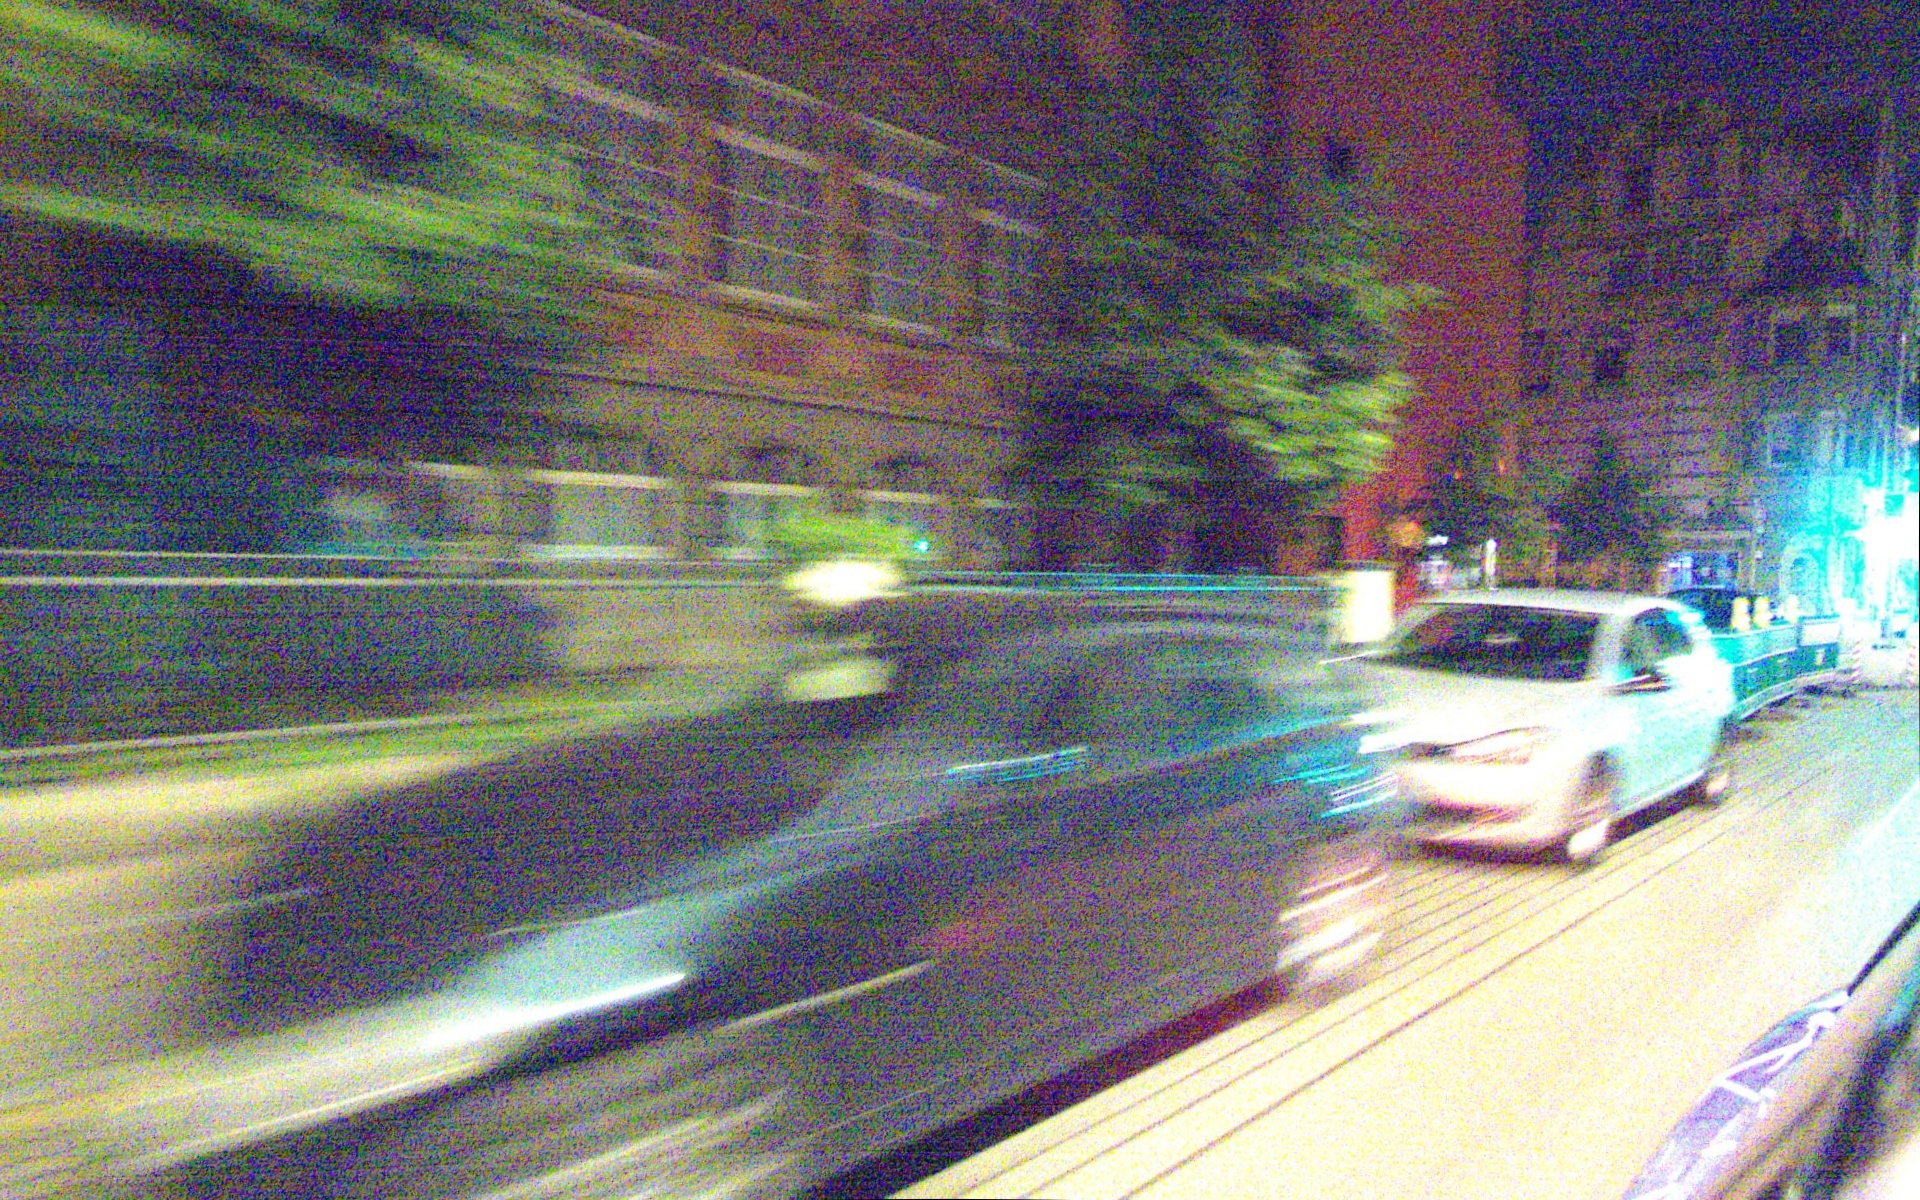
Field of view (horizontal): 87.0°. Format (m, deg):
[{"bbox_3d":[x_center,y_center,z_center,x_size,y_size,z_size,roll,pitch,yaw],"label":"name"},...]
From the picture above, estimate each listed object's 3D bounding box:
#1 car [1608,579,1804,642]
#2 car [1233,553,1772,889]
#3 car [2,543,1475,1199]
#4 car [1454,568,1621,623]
[{"bbox_3d":[20.349,0.219,27.718,1.821,1.439,4.021,-2,4,-42],"label":"car"},{"bbox_3d":[3.729,0.537,6.675,3.929,1.495,1.744,0,5,-40],"label":"car"},{"bbox_3d":[-0.111,0.619,3.359,4.366,1.438,1.690,0,3,-41],"label":"car"},{"bbox_3d":[18.168,-0.202,31.987,1.821,1.485,4.197,-1,4,-43],"label":"car"}]
